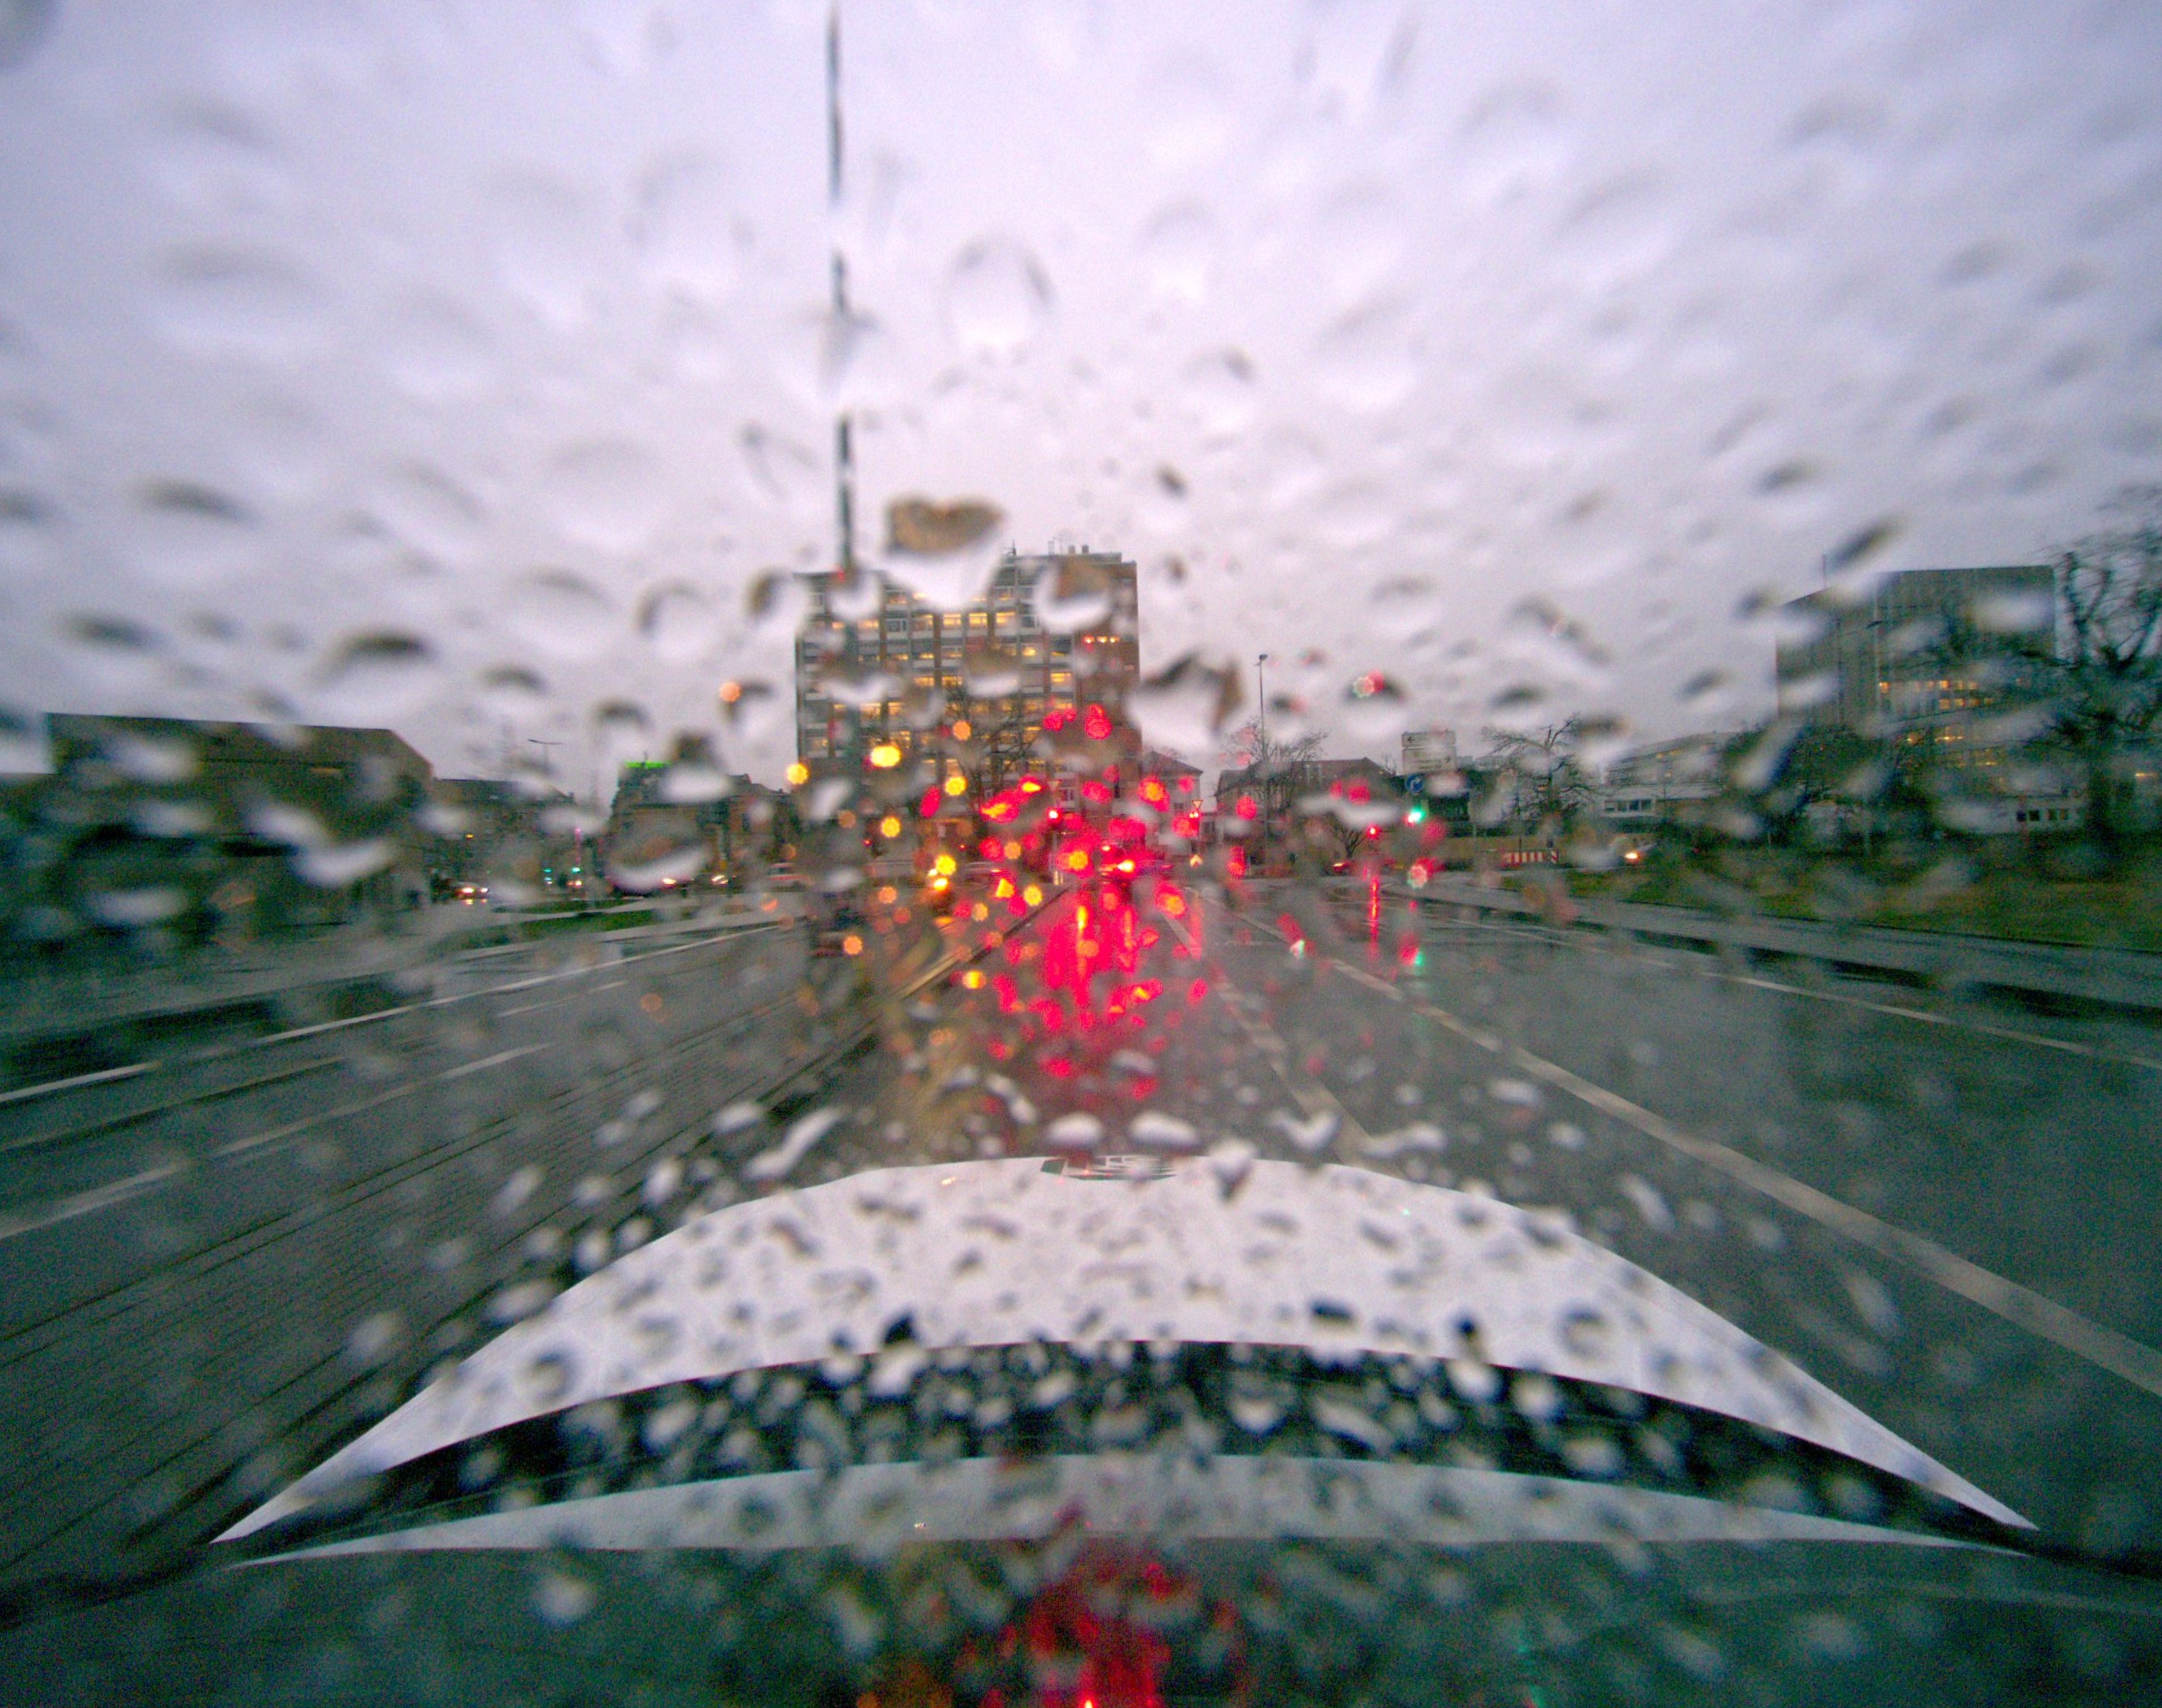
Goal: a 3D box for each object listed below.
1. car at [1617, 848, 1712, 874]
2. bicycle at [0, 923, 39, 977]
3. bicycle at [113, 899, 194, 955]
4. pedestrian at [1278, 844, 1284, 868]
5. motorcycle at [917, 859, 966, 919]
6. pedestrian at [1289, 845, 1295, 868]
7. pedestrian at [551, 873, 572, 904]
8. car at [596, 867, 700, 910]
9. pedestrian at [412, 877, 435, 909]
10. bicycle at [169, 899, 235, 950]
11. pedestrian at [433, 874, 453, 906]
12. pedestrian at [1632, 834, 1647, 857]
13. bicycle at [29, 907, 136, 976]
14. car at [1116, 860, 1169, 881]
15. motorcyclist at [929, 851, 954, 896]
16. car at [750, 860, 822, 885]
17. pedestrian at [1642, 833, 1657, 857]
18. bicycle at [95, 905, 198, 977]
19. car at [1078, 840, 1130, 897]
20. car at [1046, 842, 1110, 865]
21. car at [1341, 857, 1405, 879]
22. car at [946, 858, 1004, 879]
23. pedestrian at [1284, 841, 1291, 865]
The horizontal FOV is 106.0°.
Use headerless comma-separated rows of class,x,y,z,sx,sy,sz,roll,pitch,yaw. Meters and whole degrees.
car,36.356,0.466,50.871,4.400,1.580,1.976,-1,-2,15
bicycle,-25.017,2.221,18.715,0.552,1.165,1.881,1,-2,-27
bicycle,-21.429,1.654,18.858,0.552,1.165,1.881,1,-2,-27
pedestrian,15.750,0.161,64.100,0.434,1.839,0.462,-1,-2,20
motorcycle,-3.728,0.892,21.958,0.826,1.497,2.314,-2,0,1
pedestrian,16.500,0.208,63.732,0.434,1.839,0.462,-1,-2,21
pedestrian,-28.603,1.893,44.849,0.456,1.697,0.801,-1,-2,25
car,-24.036,1.916,45.247,4.980,2.282,2.269,-1,-2,18
pedestrian,-36.616,2.167,45.363,0.687,1.815,0.683,-1,-2,16
bicycle,-21.809,1.718,20.245,0.552,1.165,1.880,1,-2,-30
pedestrian,-36.257,2.028,46.266,0.605,1.772,0.588,-1,-2,16
pedestrian,41.817,-0.615,60.994,0.620,1.725,0.762,0,-2,9
bicycle,-18.842,1.616,15.419,0.552,1.165,1.881,1,-2,-27
car,4.253,1.141,55.958,3.383,1.398,1.476,-1,-1,17
motorcyclist,-3.716,0.520,21.779,0.534,1.193,0.611,0,-2,2
car,-23.014,1.435,63.508,5.114,1.913,2.008,-1,0,17
pedestrian,41.786,-0.640,59.884,0.620,1.725,0.762,0,-2,9
bicycle,-17.019,1.554,14.890,0.552,1.165,1.881,1,-2,-27
car,0.823,0.443,27.948,1.641,1.819,4.002,0,0,2
car,-0.239,-0.028,73.306,5.516,2.024,2.004,0,-2,8
car,19.003,0.905,53.094,3.762,1.398,1.570,-1,-2,14
car,-7.690,1.079,59.048,3.885,1.486,1.476,-1,-2,17
pedestrian,15.931,-0.091,62.787,0.454,1.839,0.441,-1,-2,19
